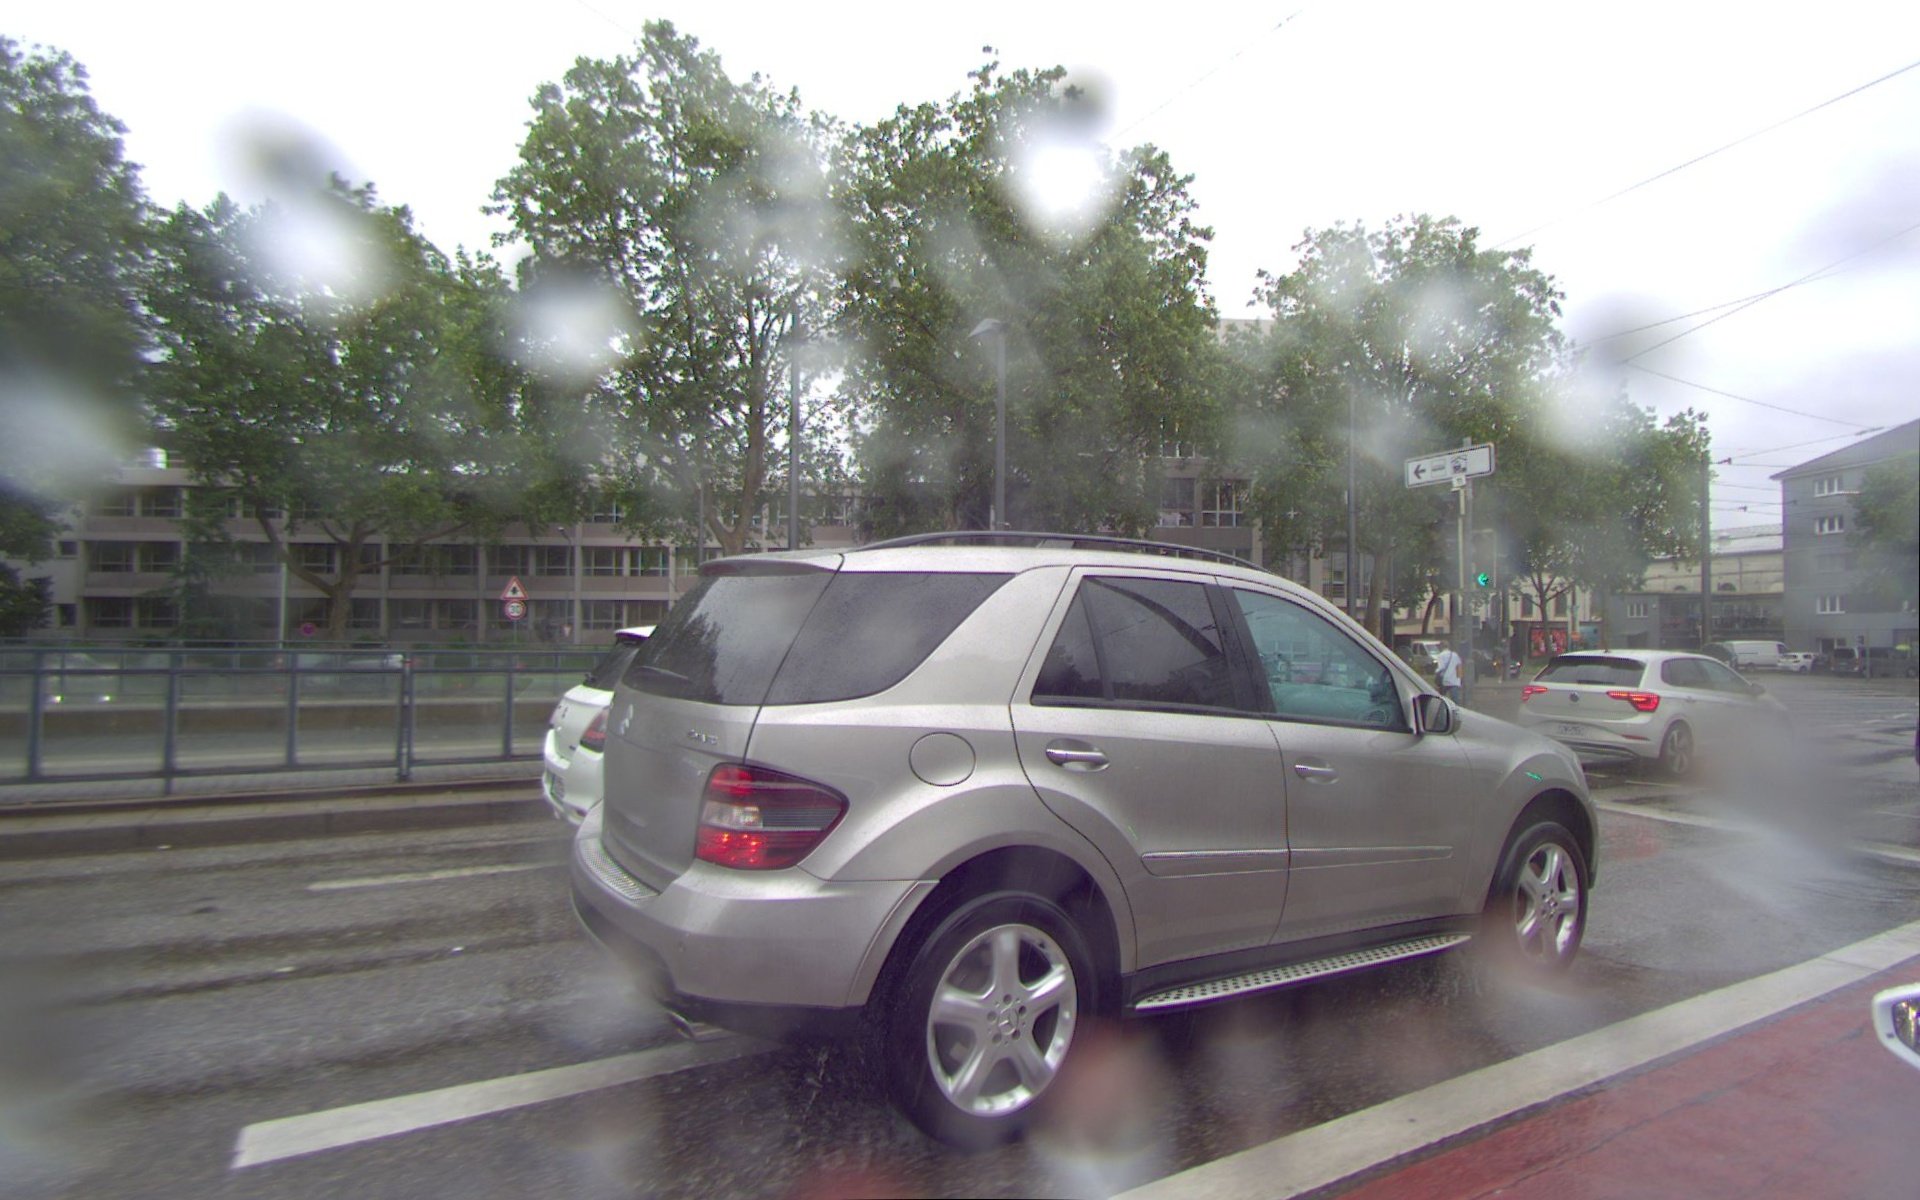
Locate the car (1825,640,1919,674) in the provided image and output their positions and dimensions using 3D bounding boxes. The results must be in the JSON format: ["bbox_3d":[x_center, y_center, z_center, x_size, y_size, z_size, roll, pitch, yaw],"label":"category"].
[{"bbox_3d":[59.208,3.698,65.209,4.311,2.040,2.068,1,-1,0],"label":"car"}]

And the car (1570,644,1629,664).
[{"bbox_3d":[56.961,4.822,89.540,3.921,1.787,2.000,0,-2,0],"label":"car"}]

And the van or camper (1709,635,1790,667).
[{"bbox_3d":[57.466,3.698,73.176,4.568,2.102,1.998,2,-1,-7],"label":"van or camper"}]

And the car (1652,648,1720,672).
[{"bbox_3d":[56.677,4.646,78.428,3.925,1.635,1.999,3,-2,-5],"label":"car"}]

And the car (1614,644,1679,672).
[{"bbox_3d":[56.614,4.745,82.866,3.921,2.040,2.000,3,-1,-1],"label":"car"}]

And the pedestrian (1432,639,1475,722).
[{"bbox_3d":[10.000,1.622,20.385,0.721,1.631,0.718,0,-1,21],"label":"pedestrian"}]

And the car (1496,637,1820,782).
[{"bbox_3d":[8.926,1.271,12.790,4.141,1.557,1.798,1,-2,-30],"label":"car"}]

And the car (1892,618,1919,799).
[{"bbox_3d":[11.356,1.077,10.073,4.141,1.732,1.793,1,-1,-30],"label":"car"}]

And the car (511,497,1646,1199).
[{"bbox_3d":[0.720,0.651,4.283,4.626,1.668,1.898,1,-1,-31],"label":"car"}]

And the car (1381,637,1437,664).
[{"bbox_3d":[31.718,3.524,71.031,1.966,1.795,3.998,1,-2,-4],"label":"car"}]

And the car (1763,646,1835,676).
[{"bbox_3d":[58.843,4.267,70.472,3.932,2.040,1.995,1,-1,-14],"label":"car"}]

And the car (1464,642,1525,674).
[{"bbox_3d":[33.253,3.581,62.562,1.767,1.795,4.002,-1,-1,3],"label":"car"}]

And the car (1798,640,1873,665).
[{"bbox_3d":[59.601,3.569,68.393,3.932,1.639,1.922,1,-1,-14],"label":"car"}]

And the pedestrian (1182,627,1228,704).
[{"bbox_3d":[5.661,1.484,23.188,0.931,1.734,0.830,0,-1,21],"label":"pedestrian"}]
